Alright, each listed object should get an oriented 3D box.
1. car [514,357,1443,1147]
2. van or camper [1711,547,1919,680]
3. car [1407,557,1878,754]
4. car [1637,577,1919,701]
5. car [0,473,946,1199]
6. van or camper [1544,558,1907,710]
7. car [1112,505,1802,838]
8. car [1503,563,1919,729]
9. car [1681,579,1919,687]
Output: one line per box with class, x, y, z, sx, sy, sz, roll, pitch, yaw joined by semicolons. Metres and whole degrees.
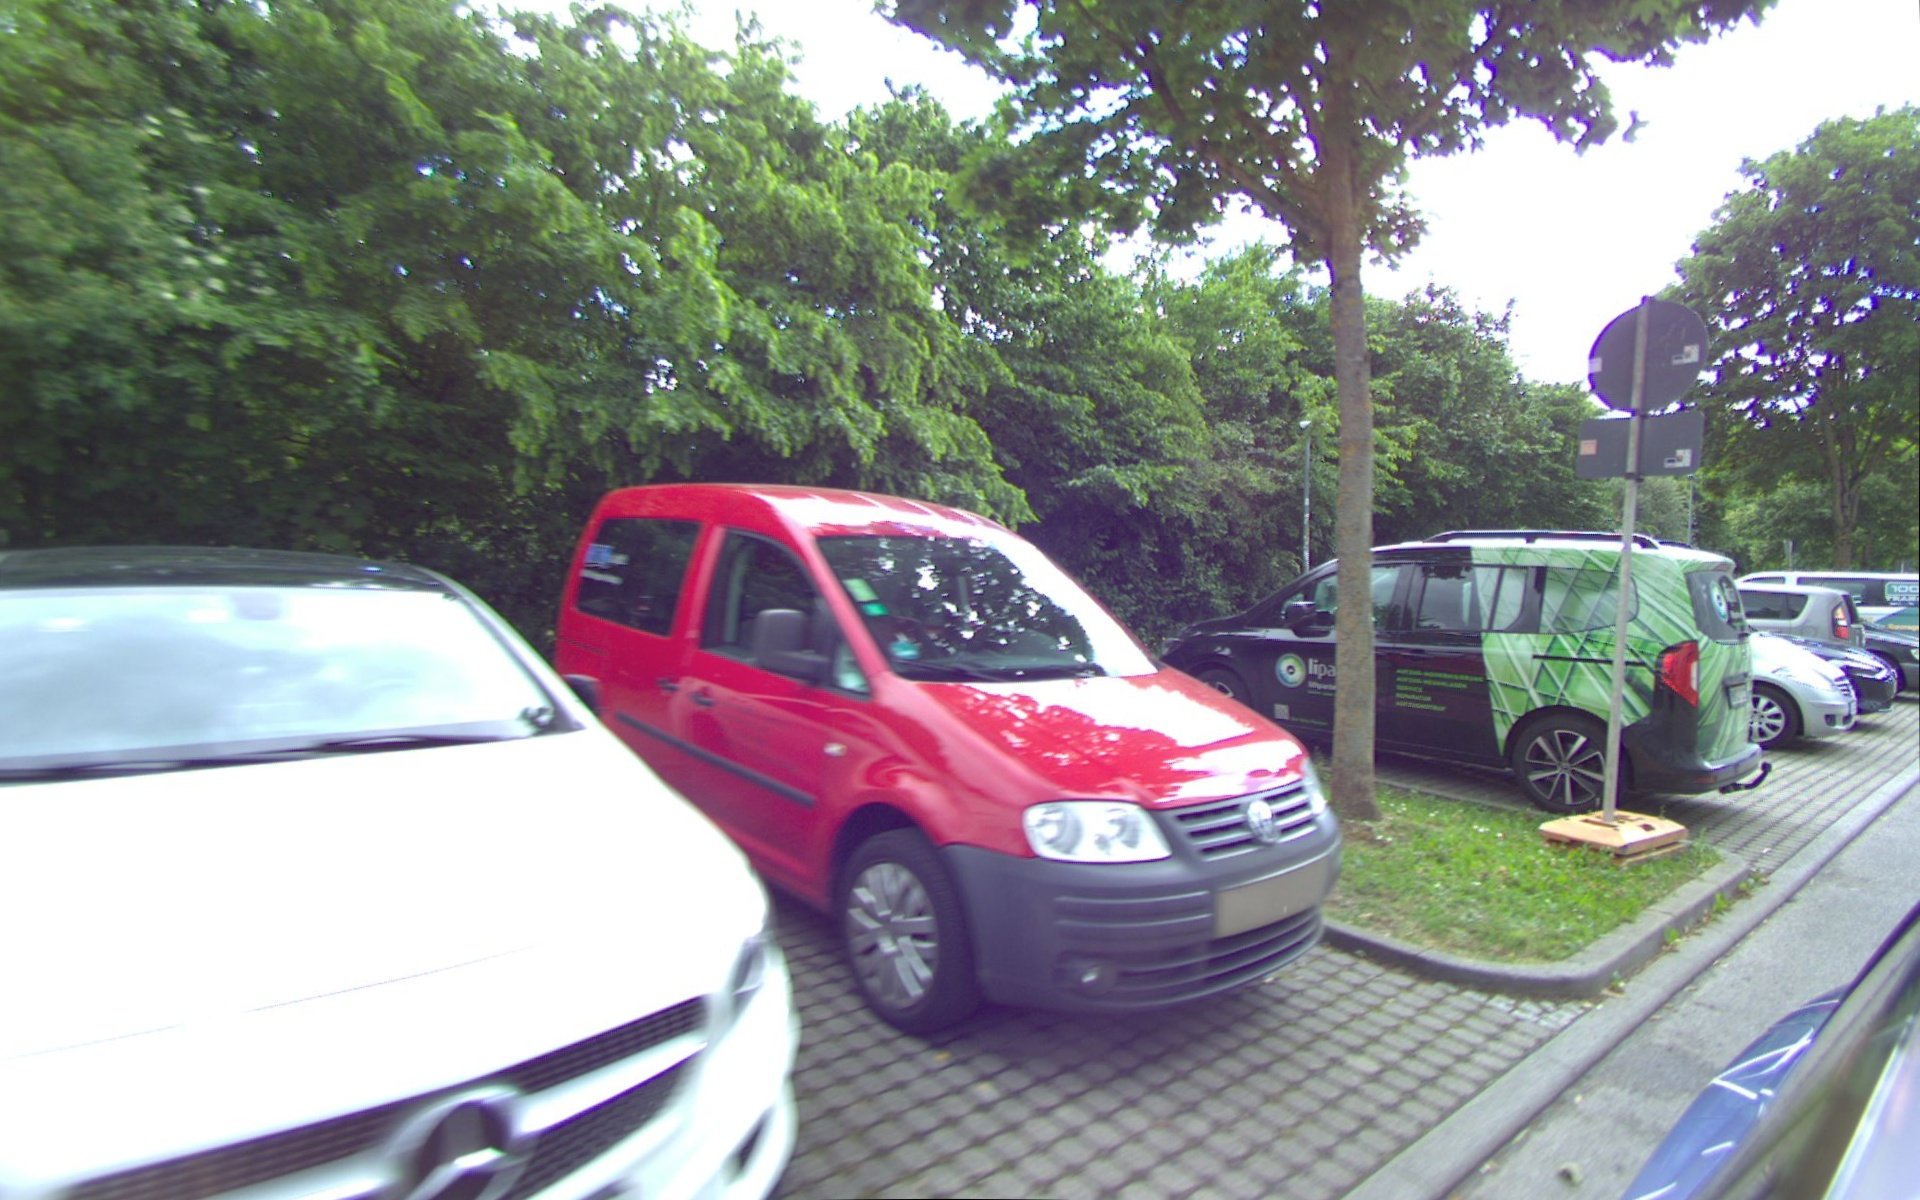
car;-0.375;0.272;4.655;1.806;1.916;4.288;0;3;-42
van or camper;16.860;0.239;19.135;1.852;2.349;3.973;0;0;-42
car;7.292;0.500;11.109;1.852;1.754;3.973;0;0;-42
car;13.271;0.553;15.978;1.852;1.754;3.973;0;0;-42
car;-2.140;0.467;3.099;1.806;1.426;4.288;0;3;-42
van or camper;10.979;0.429;14.729;1.699;1.897;3.973;0;0;-42
car;3.624;0.266;8.140;1.852;1.922;4.559;0;4;-42
car;9.331;0.493;12.791;1.852;1.754;3.973;0;0;-42
car;15.189;0.493;17.602;2.071;1.622;3.975;-3;4;-42
